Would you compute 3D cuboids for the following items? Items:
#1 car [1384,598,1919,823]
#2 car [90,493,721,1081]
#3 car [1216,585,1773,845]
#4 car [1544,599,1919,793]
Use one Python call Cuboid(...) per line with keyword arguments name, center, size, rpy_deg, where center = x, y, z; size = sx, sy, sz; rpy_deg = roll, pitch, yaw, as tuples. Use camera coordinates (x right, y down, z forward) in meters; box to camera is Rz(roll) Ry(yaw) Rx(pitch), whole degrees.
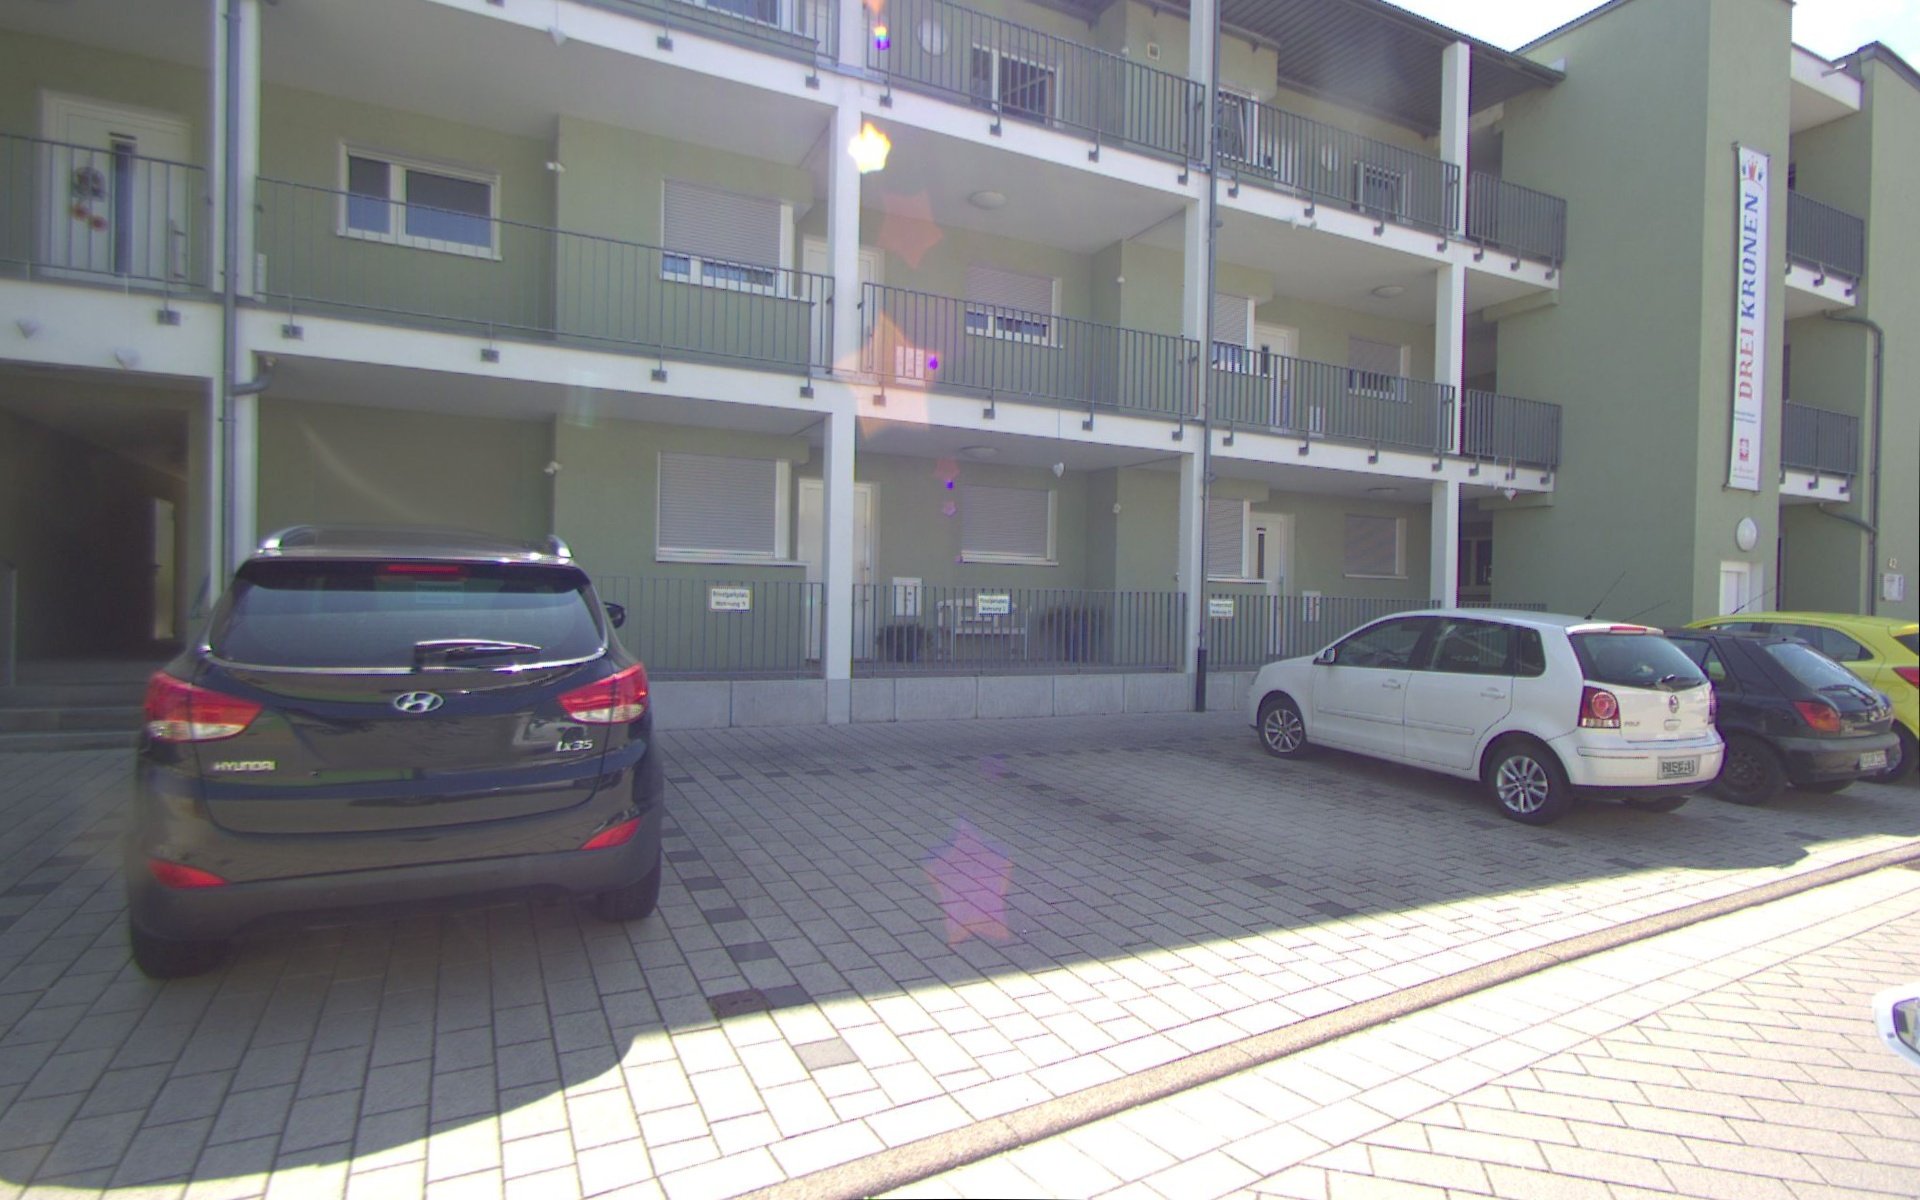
Cuboid(name="car", center=(6.318, 0.844, 9.640), size=(1.669, 1.461, 3.972), rpy_deg=(1, 3, -26))
Cuboid(name="car", center=(-2.563, 0.461, 5.140), size=(1.760, 1.681, 4.205), rpy_deg=(1, 2, -25))
Cuboid(name="car", center=(4.153, 0.726, 8.548), size=(1.727, 1.523, 3.889), rpy_deg=(1, 3, -25))
Cuboid(name="car", center=(8.533, 0.867, 10.680), size=(1.650, 1.546, 3.680), rpy_deg=(1, 2, -25))
